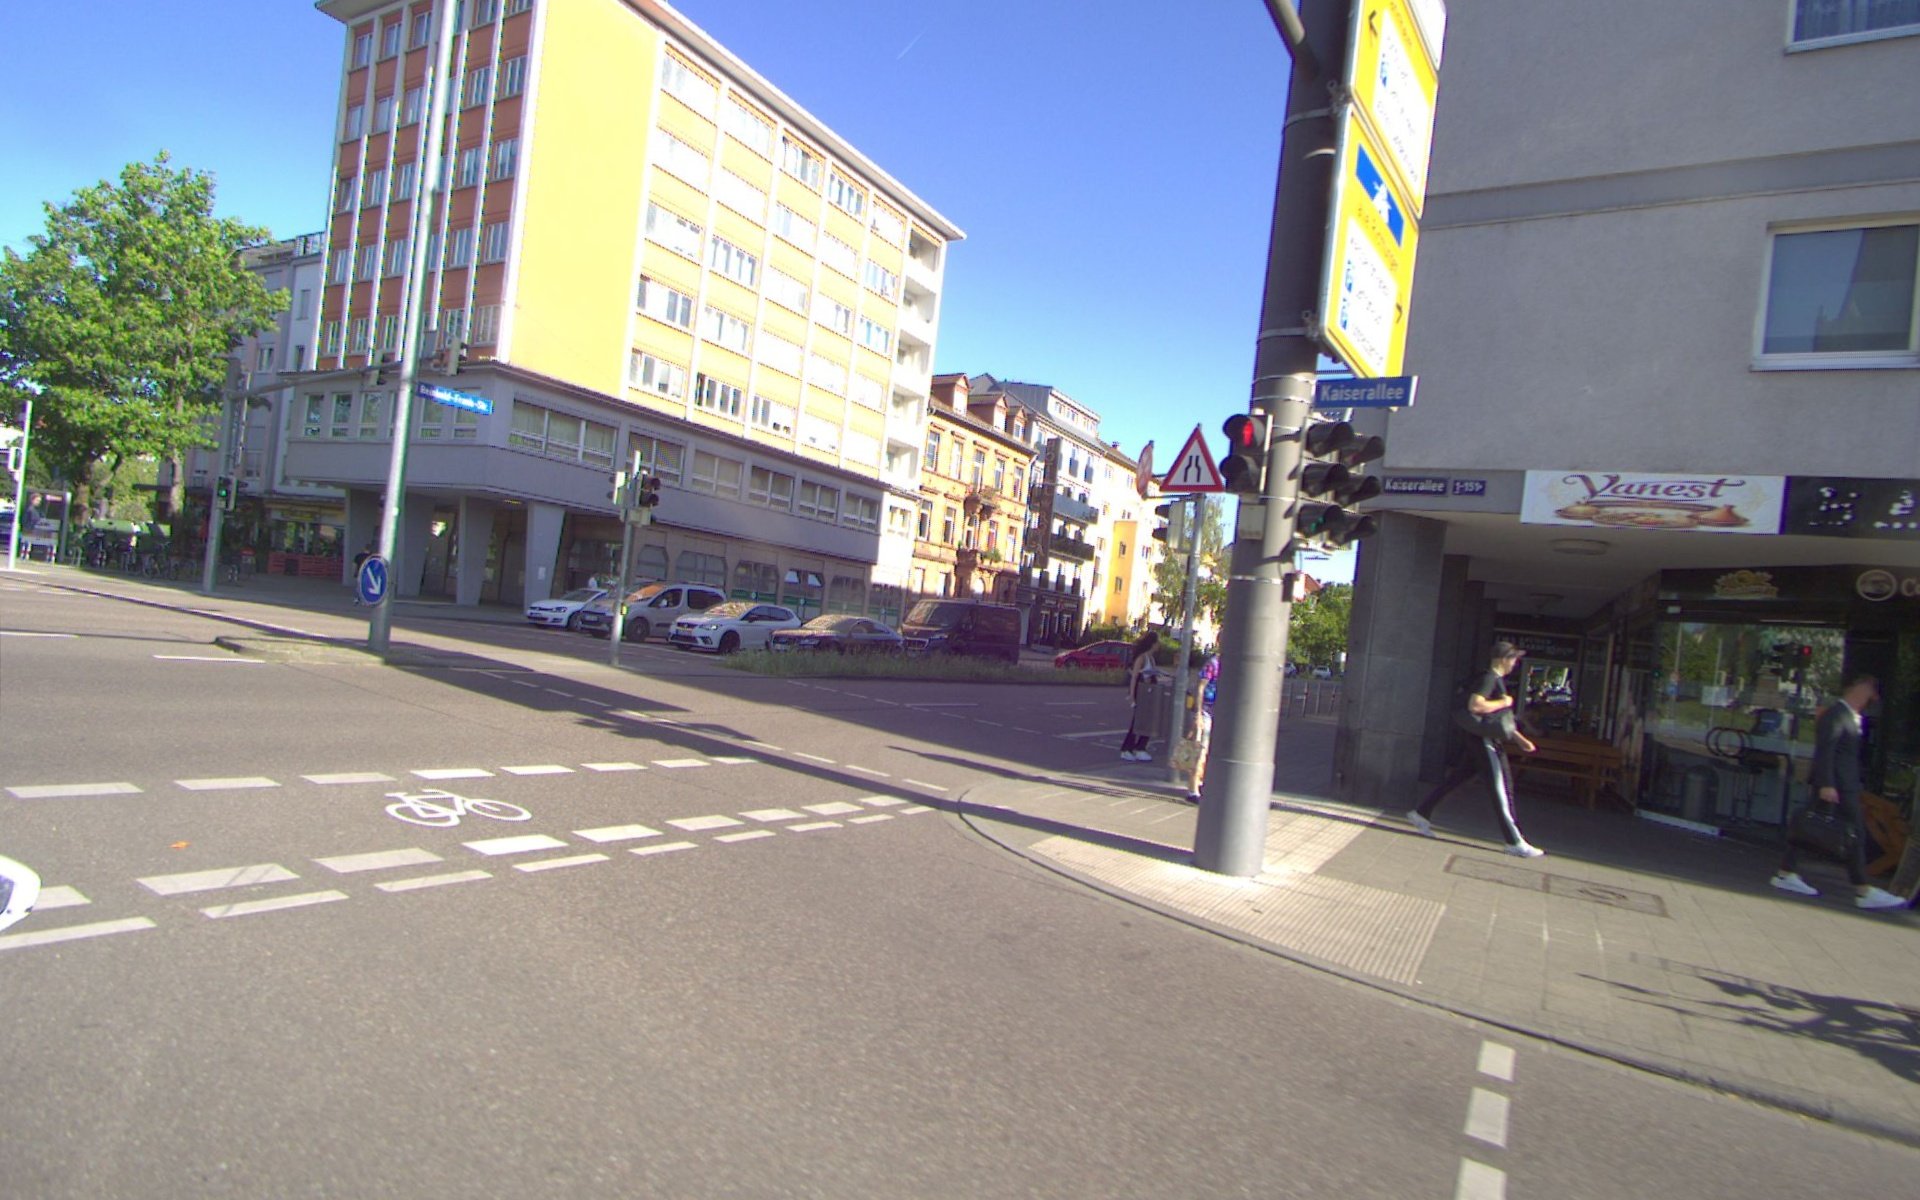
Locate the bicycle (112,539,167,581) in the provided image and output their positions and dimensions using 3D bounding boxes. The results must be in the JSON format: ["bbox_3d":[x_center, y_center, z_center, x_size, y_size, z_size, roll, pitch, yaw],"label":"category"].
[{"bbox_3d":[-25.787,-1.269,31.610,2.083,1.129,0.477,6,-2,28],"label":"bicycle"}]

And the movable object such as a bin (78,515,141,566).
[{"bbox_3d":[-31.154,-2.176,36.871,0.991,1.659,1.383,6,-2,30],"label":"movable object such as a bin"}]

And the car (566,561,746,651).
[{"bbox_3d":[-8.400,0.233,28.204,1.914,1.871,4.599,6,-3,30],"label":"car"}]

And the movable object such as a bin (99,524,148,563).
[{"bbox_3d":[-34.652,-2.328,41.678,0.944,1.406,1.215,6,-3,32],"label":"movable object such as a bin"}]

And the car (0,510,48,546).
[{"bbox_3d":[-44.053,-3.385,46.863,1.756,1.456,4.537,6,0,-37],"label":"car"}]

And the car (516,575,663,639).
[{"bbox_3d":[-11.748,0.274,32.171,1.814,1.519,4.162,4,-4,29],"label":"car"}]

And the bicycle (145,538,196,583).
[{"bbox_3d":[-25.649,-1.285,32.668,1.816,1.258,0.533,6,-2,30],"label":"bicycle"}]

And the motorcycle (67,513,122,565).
[{"bbox_3d":[-29.794,-2.097,34.630,2.507,1.557,0.803,6,-2,38],"label":"motorcycle"}]

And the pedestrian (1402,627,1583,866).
[{"bbox_3d":[4.739,1.253,8.981,1.190,1.857,0.865,6,0,30],"label":"pedestrian"}]

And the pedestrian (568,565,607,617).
[{"bbox_3d":[-14.046,-0.345,37.934,0.883,1.799,0.858,7,-2,4],"label":"pedestrian"}]

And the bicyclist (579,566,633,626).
[{"bbox_3d":[-10.299,-0.103,29.305,0.925,1.578,0.935,6,-2,29],"label":"bicyclist"}]

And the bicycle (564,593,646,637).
[{"bbox_3d":[-10.322,0.459,29.356,0.846,1.011,2.148,6,-3,29],"label":"bicycle"}]

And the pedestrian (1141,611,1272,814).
[{"bbox_3d":[2.412,1.072,9.812,0.860,1.798,0.790,7,0,30],"label":"pedestrian"}]

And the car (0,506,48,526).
[{"bbox_3d":[-129.497,-11.642,138.515,2.126,1.819,5.280,6,-3,28],"label":"car"}]

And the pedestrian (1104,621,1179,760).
[{"bbox_3d":[2.485,1.231,13.785,0.653,1.795,0.568,7,0,33],"label":"pedestrian"}]

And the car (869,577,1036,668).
[{"bbox_3d":[-0.101,0.747,30.865,2.340,2.225,5.240,6,-1,35],"label":"car"}]

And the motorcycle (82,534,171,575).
[{"bbox_3d":[-28.007,-1.517,33.835,0.750,1.033,2.100,7,-2,32],"label":"motorcycle"}]

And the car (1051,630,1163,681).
[{"bbox_3d":[6.185,2.314,42.216,4.300,1.554,1.828,7,0,16],"label":"car"}]

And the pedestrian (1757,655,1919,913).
[{"bbox_3d":[7.286,1.472,8.344,0.862,1.908,0.788,6,0,41],"label":"pedestrian"}]

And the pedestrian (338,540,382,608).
[{"bbox_3d":[-17.719,-0.759,29.696,0.822,1.865,0.883,8,-2,-37],"label":"pedestrian"}]

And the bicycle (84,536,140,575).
[{"bbox_3d":[-26.139,-1.378,31.001,2.083,0.996,0.477,6,-2,28],"label":"bicycle"}]

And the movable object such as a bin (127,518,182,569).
[{"bbox_3d":[-30.405,-2.123,37.976,0.929,1.729,1.258,5,-1,30],"label":"movable object such as a bin"}]

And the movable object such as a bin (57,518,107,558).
[{"bbox_3d":[-35.245,-2.480,40.400,0.912,1.371,1.174,6,-3,32],"label":"movable object such as a bin"}]

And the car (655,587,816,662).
[{"bbox_3d":[-5.785,0.698,26.411,1.817,1.456,3.998,6,-3,29],"label":"car"}]

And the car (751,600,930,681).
[{"bbox_3d":[-2.921,1.063,25.334,1.947,1.485,4.146,5,-4,41],"label":"car"}]

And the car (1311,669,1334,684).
[{"bbox_3d":[40.626,8.586,112.775,1.964,1.326,3.997,7,-1,26],"label":"car"}]
